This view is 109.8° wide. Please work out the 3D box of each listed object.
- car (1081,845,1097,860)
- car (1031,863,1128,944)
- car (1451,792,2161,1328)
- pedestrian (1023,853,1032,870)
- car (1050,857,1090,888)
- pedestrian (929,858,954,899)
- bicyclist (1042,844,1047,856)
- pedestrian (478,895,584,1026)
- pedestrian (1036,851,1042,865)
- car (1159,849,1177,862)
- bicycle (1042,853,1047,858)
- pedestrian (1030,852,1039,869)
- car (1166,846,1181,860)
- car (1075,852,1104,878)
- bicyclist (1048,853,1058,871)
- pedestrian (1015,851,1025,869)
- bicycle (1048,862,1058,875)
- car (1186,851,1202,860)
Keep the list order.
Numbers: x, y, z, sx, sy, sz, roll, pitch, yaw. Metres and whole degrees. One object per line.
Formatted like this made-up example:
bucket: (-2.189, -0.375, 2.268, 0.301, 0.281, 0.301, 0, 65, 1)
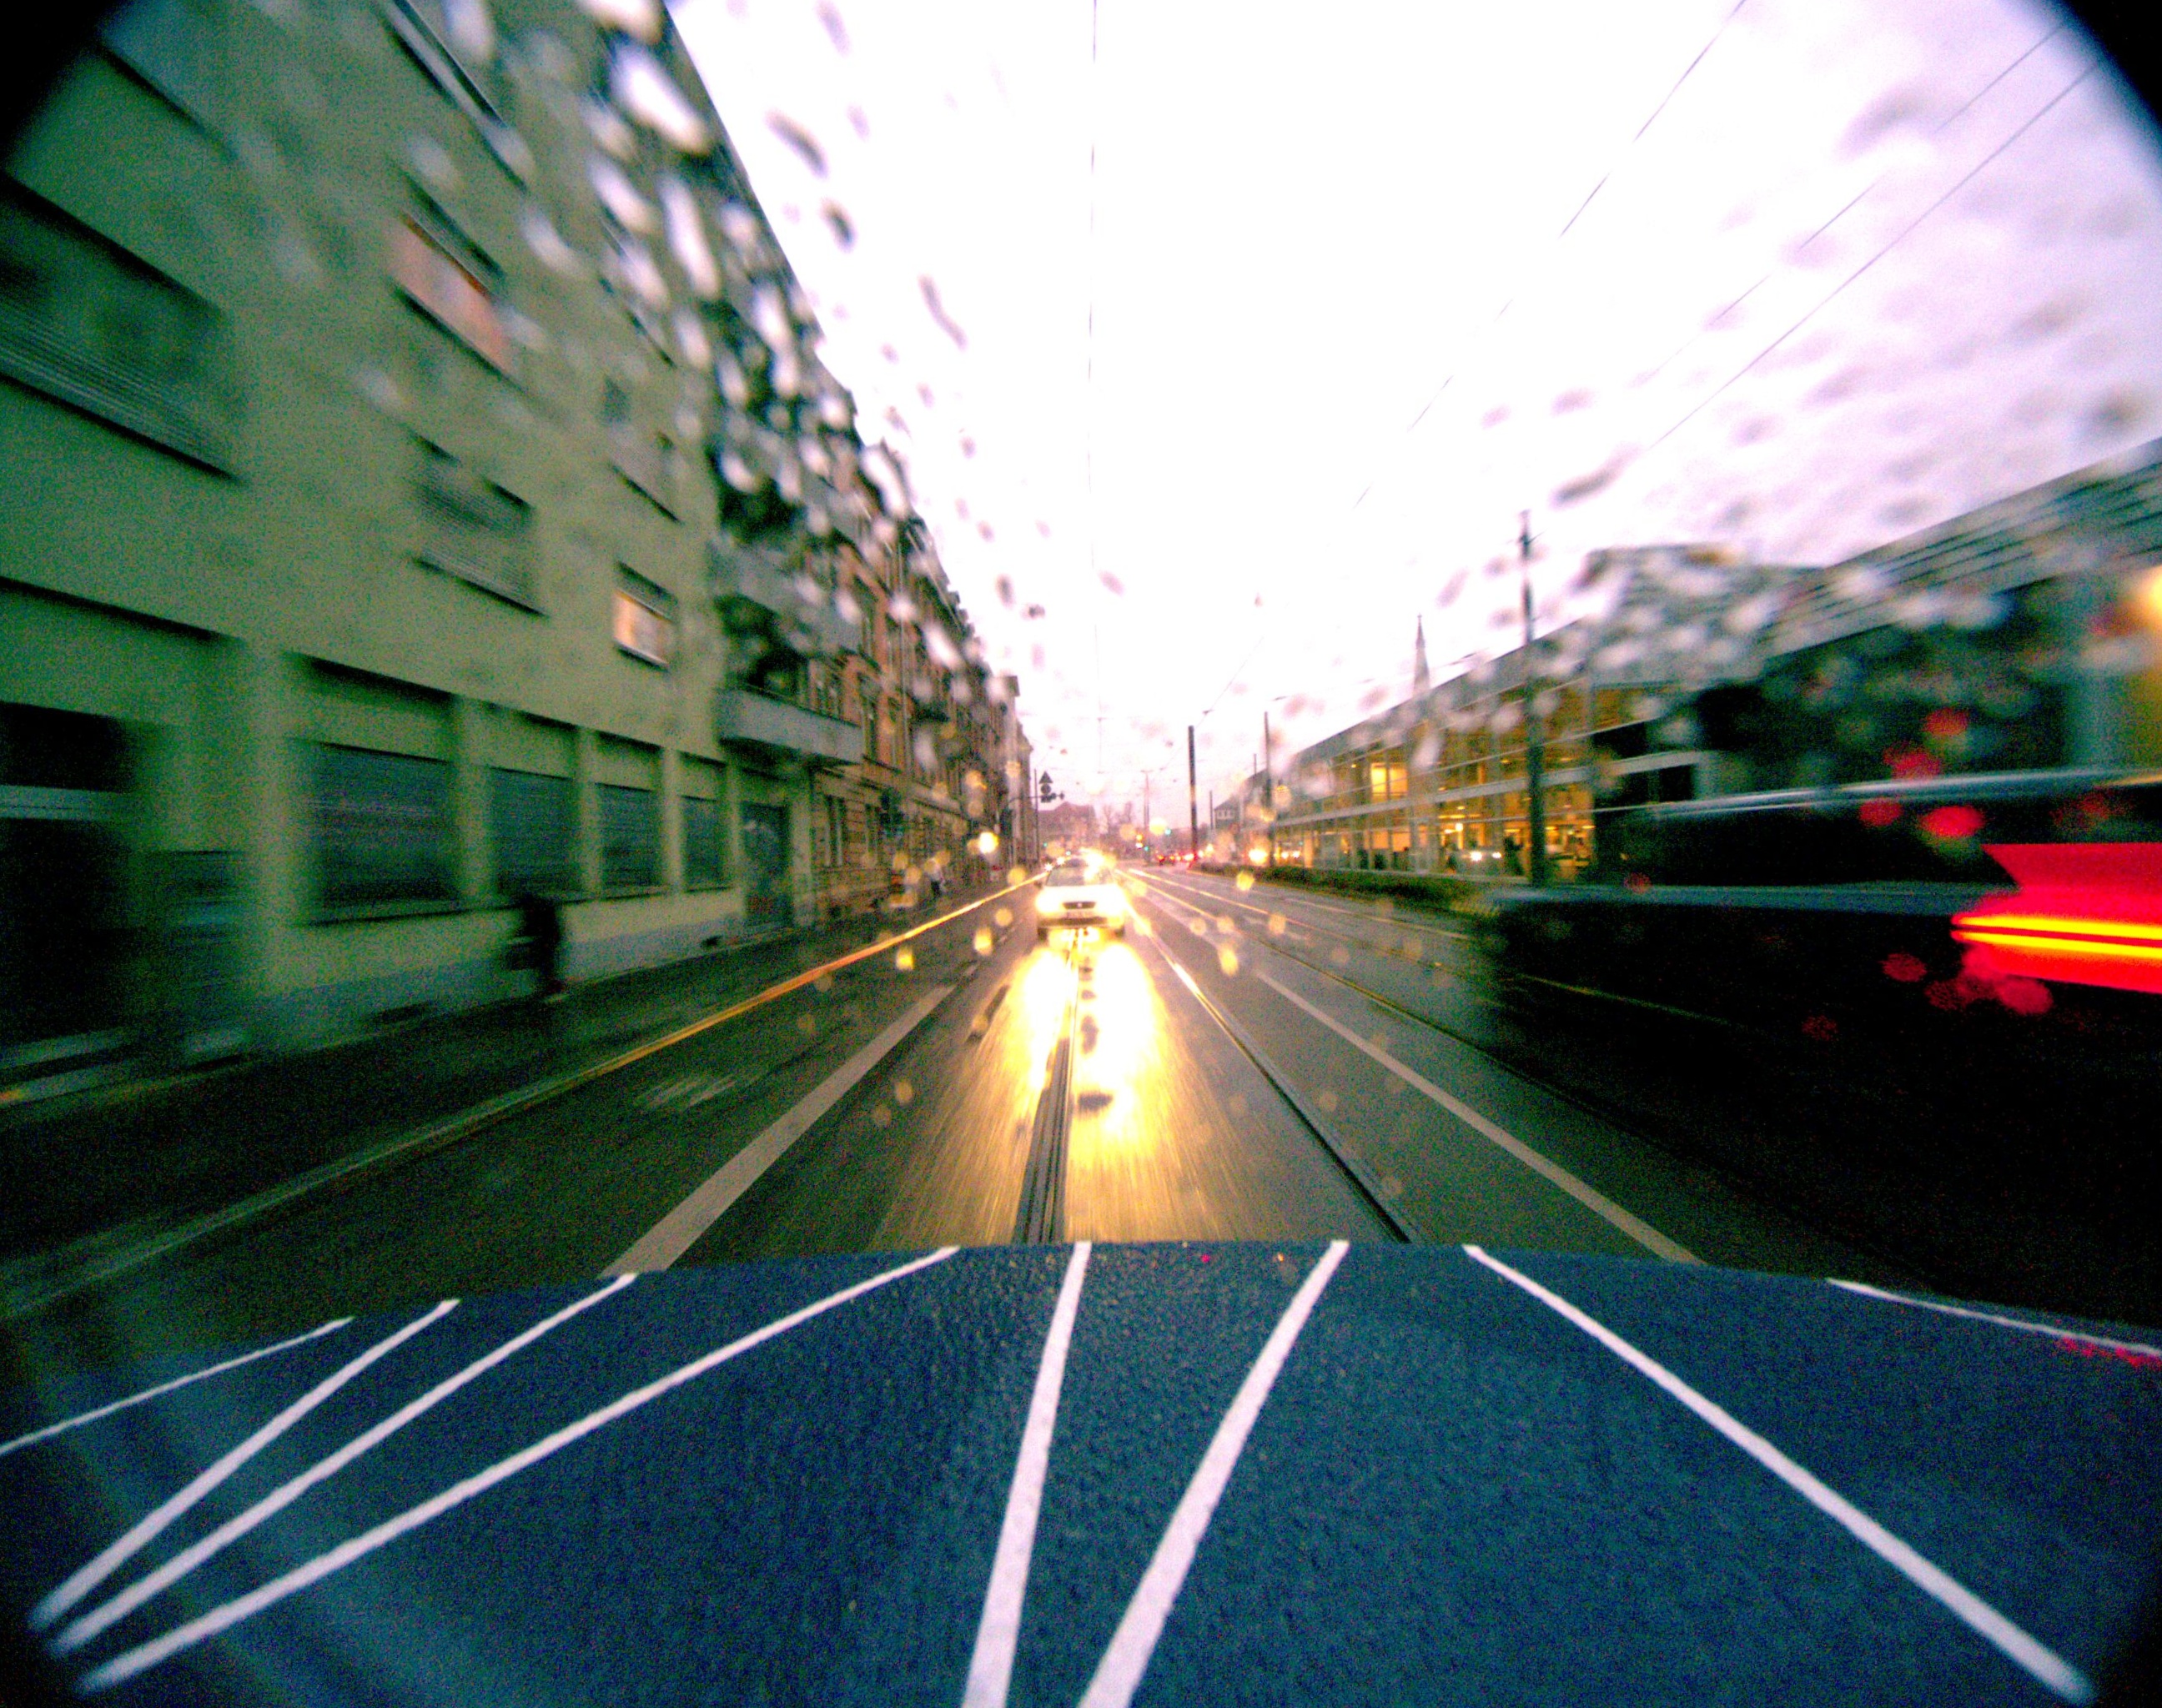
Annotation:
car: (1.060, -0.235, 99.744, 2.018, 1.809, 3.688, -3, 1, 1)
car: (0.048, 0.968, 16.504, 1.797, 1.415, 4.000, -2, 0, 2)
car: (4.351, 0.629, 4.603, 1.880, 1.700, 4.760, -1, 0, 0)
pedestrian: (-5.357, 0.737, 75.889, 0.777, 1.734, 0.673, -1, 1, 1)
car: (-0.515, 0.915, 39.254, 1.797, 1.415, 4.000, -2, 0, 2)
pedestrian: (-5.529, 0.971, 30.166, 0.788, 1.588, 0.741, -2, 1, -1)
bicyclist: (-5.681, -0.567, 117.647, 0.747, 1.869, 1.111, -2, 1, -2)
pedestrian: (-6.298, 1.193, 8.735, 0.601, 1.369, 0.728, -3, 1, 0)
pedestrian: (-4.729, 0.485, 85.874, 0.633, 1.539, 0.710, -2, 1, -5)
car: (10.858, 0.187, 94.529, 1.845, 1.569, 4.442, -2, 0, 2)
bicycle: (-5.640, 0.175, 117.670, 0.609, 0.757, 1.860, -2, 1, -1)
pedestrian: (-4.583, 0.633, 74.681, 0.777, 1.734, 0.673, -1, 1, 1)
car: (14.340, -0.218, 117.729, 1.998, 2.002, 4.685, -3, 1, 4)
car: (0.537, 0.696, 51.337, 1.824, 1.565, 3.999, -2, 0, 0)
bicyclist: (-2.436, 0.650, 65.796, 0.727, 1.525, 0.785, -2, 1, 0)
pedestrian: (-5.974, 0.599, 74.464, 0.777, 1.734, 0.673, -1, 1, 1)
bicycle: (-2.413, 1.242, 65.827, 0.725, 0.985, 2.212, -2, 1, 0)
car: (17.748, 0.212, 119.565, 1.998, 1.413, 4.588, -2, 0, 3)
